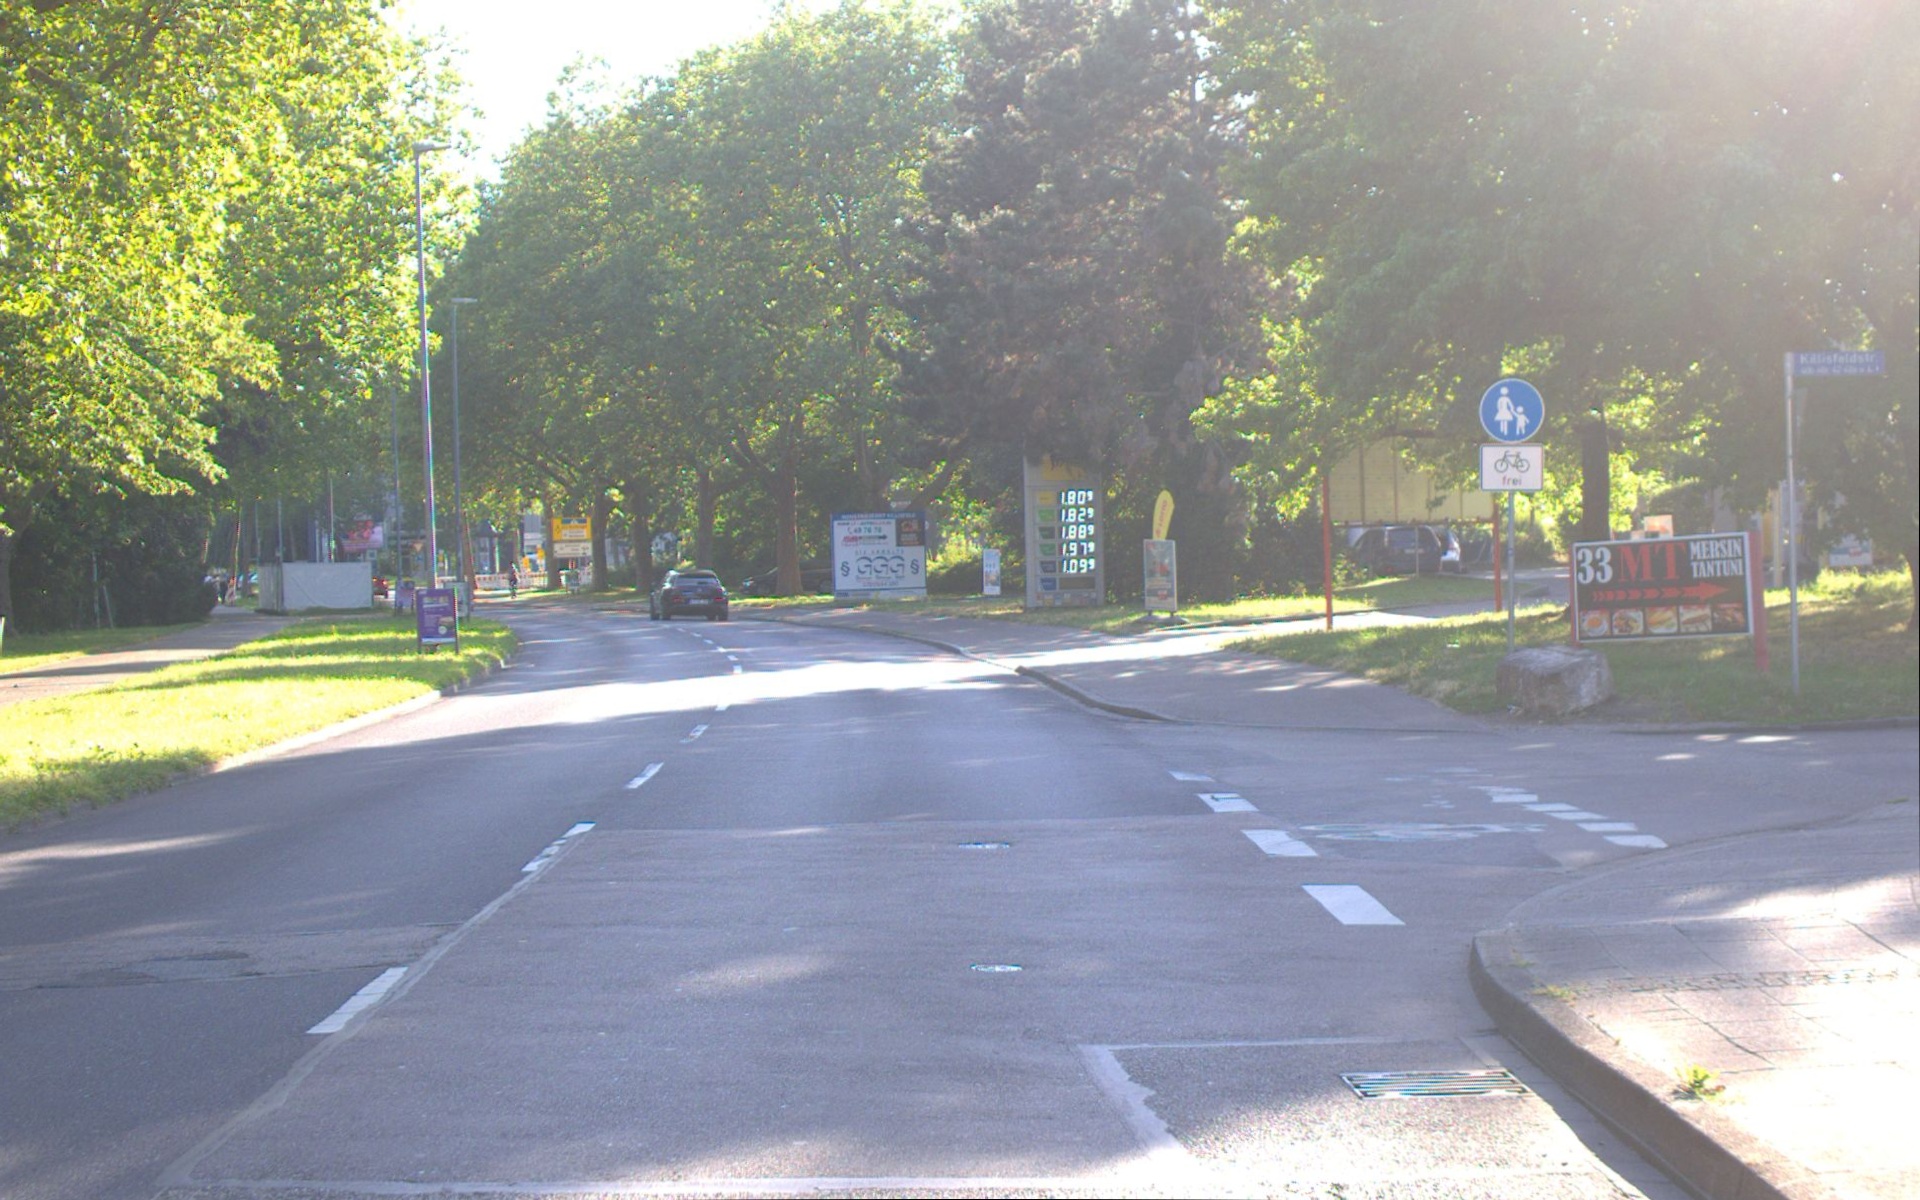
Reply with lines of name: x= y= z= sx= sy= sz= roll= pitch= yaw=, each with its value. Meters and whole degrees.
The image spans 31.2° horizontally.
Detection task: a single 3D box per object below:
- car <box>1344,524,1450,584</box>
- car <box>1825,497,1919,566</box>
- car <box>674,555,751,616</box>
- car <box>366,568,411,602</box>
car: x=11.123 y=-1.178 z=87.671 sx=1.841 sy=1.415 sz=4.001 roll=-2 pitch=1 yaw=-5
car: x=24.261 y=-1.784 z=89.480 sx=1.812 sy=1.722 sz=4.399 roll=-2 pitch=1 yaw=-7
car: x=-6.820 y=-0.412 z=95.039 sx=1.839 sy=1.600 sz=3.863 roll=-1 pitch=1 yaw=0
car: x=-35.672 y=-0.954 z=214.698 sx=1.993 sy=2.007 sz=4.000 roll=-2 pitch=1 yaw=2
